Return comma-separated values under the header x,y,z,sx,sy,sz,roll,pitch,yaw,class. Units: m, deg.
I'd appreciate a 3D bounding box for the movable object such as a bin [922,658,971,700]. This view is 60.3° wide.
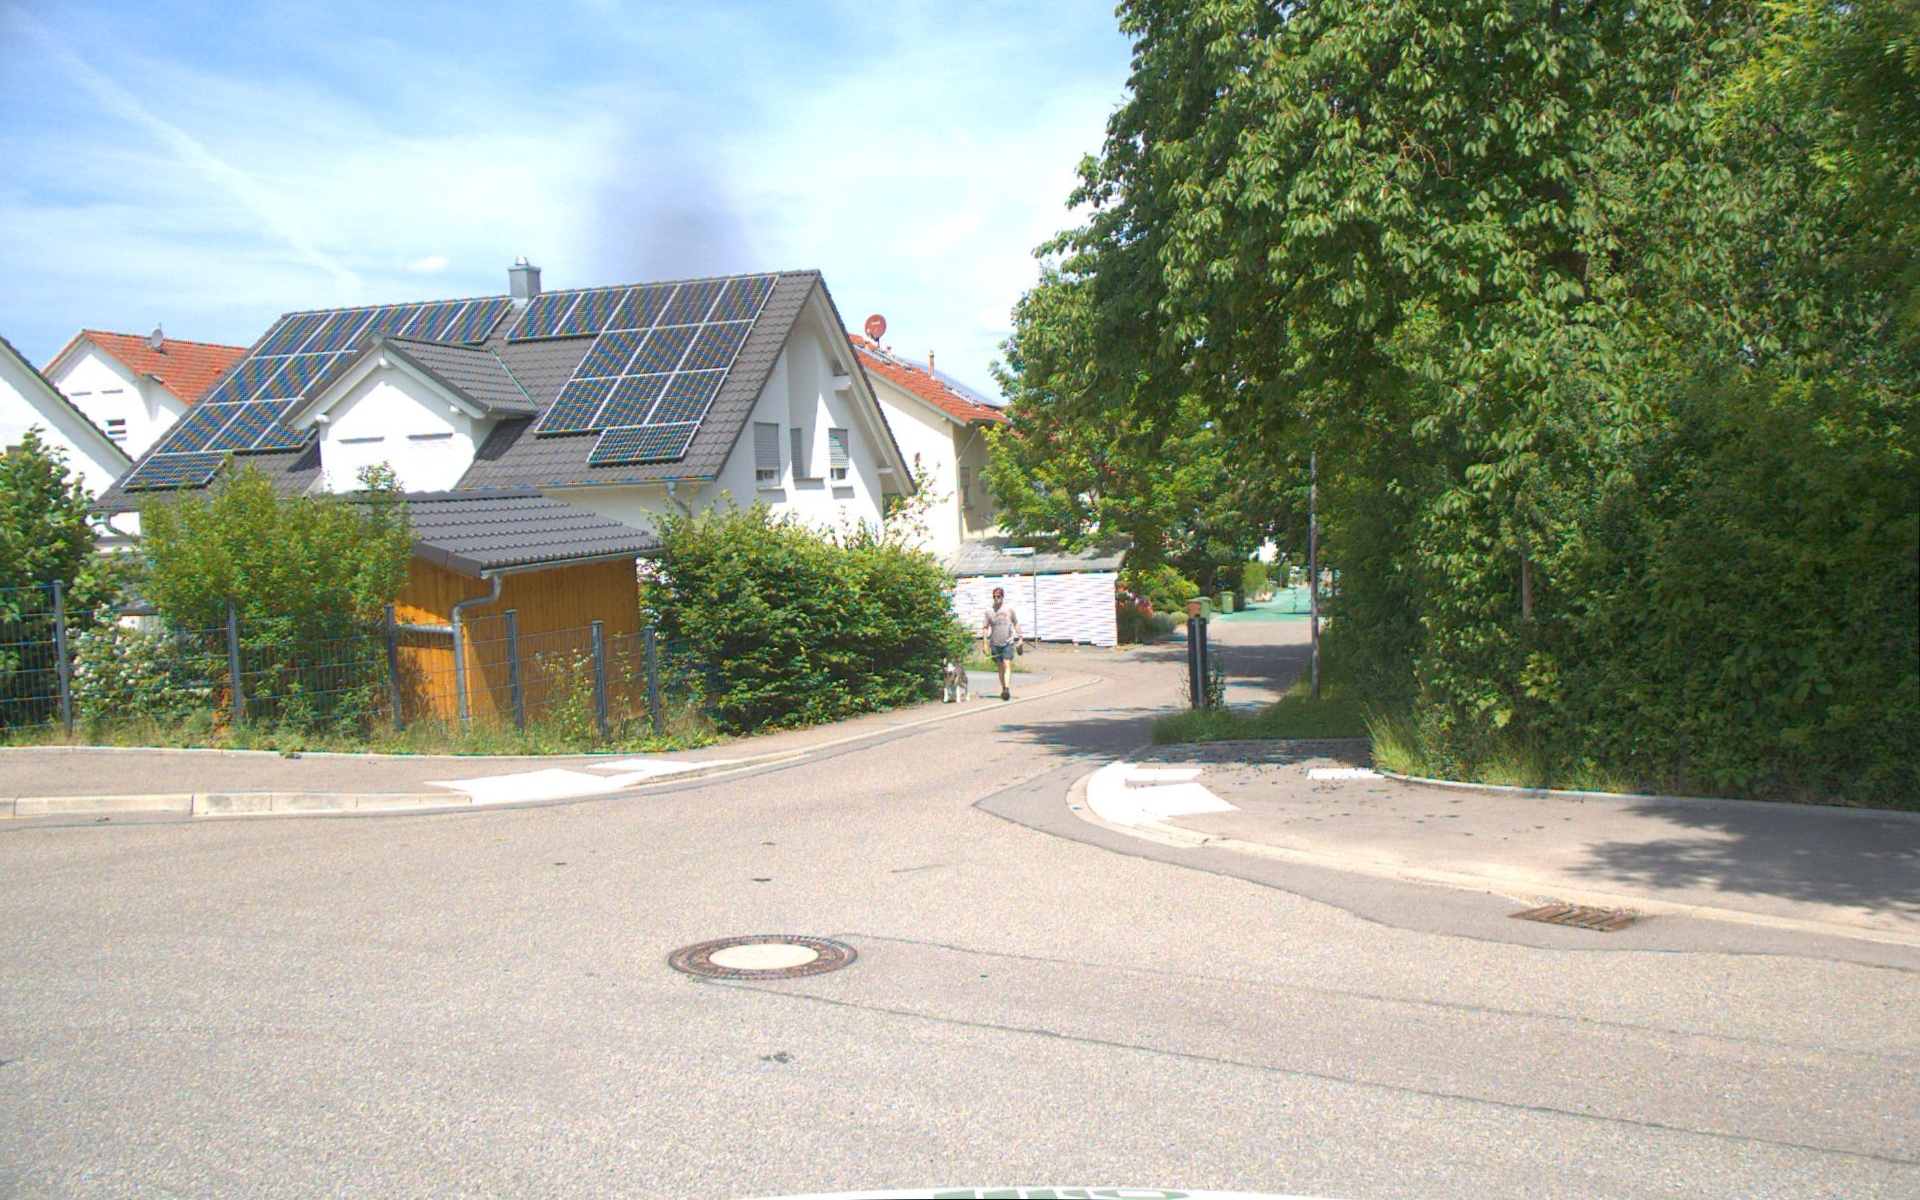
x,y,z,sx,sy,sz,roll,pitch,yaw,class
-0.204,1.254,26.340,0.536,0.640,1.021,-1,-1,15,movable object such as a bin

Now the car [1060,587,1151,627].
x,y,z,sx,sy,sz,roll,pitch,yaw,class
5.380,0.253,61.500,3.343,1.444,1.587,0,2,3,car

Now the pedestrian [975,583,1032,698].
x,y,z,sx,sy,sz,roll,pitch,yaw,class
0.727,0.683,27.335,0.828,1.852,0.835,-1,-3,8,pedestrian
